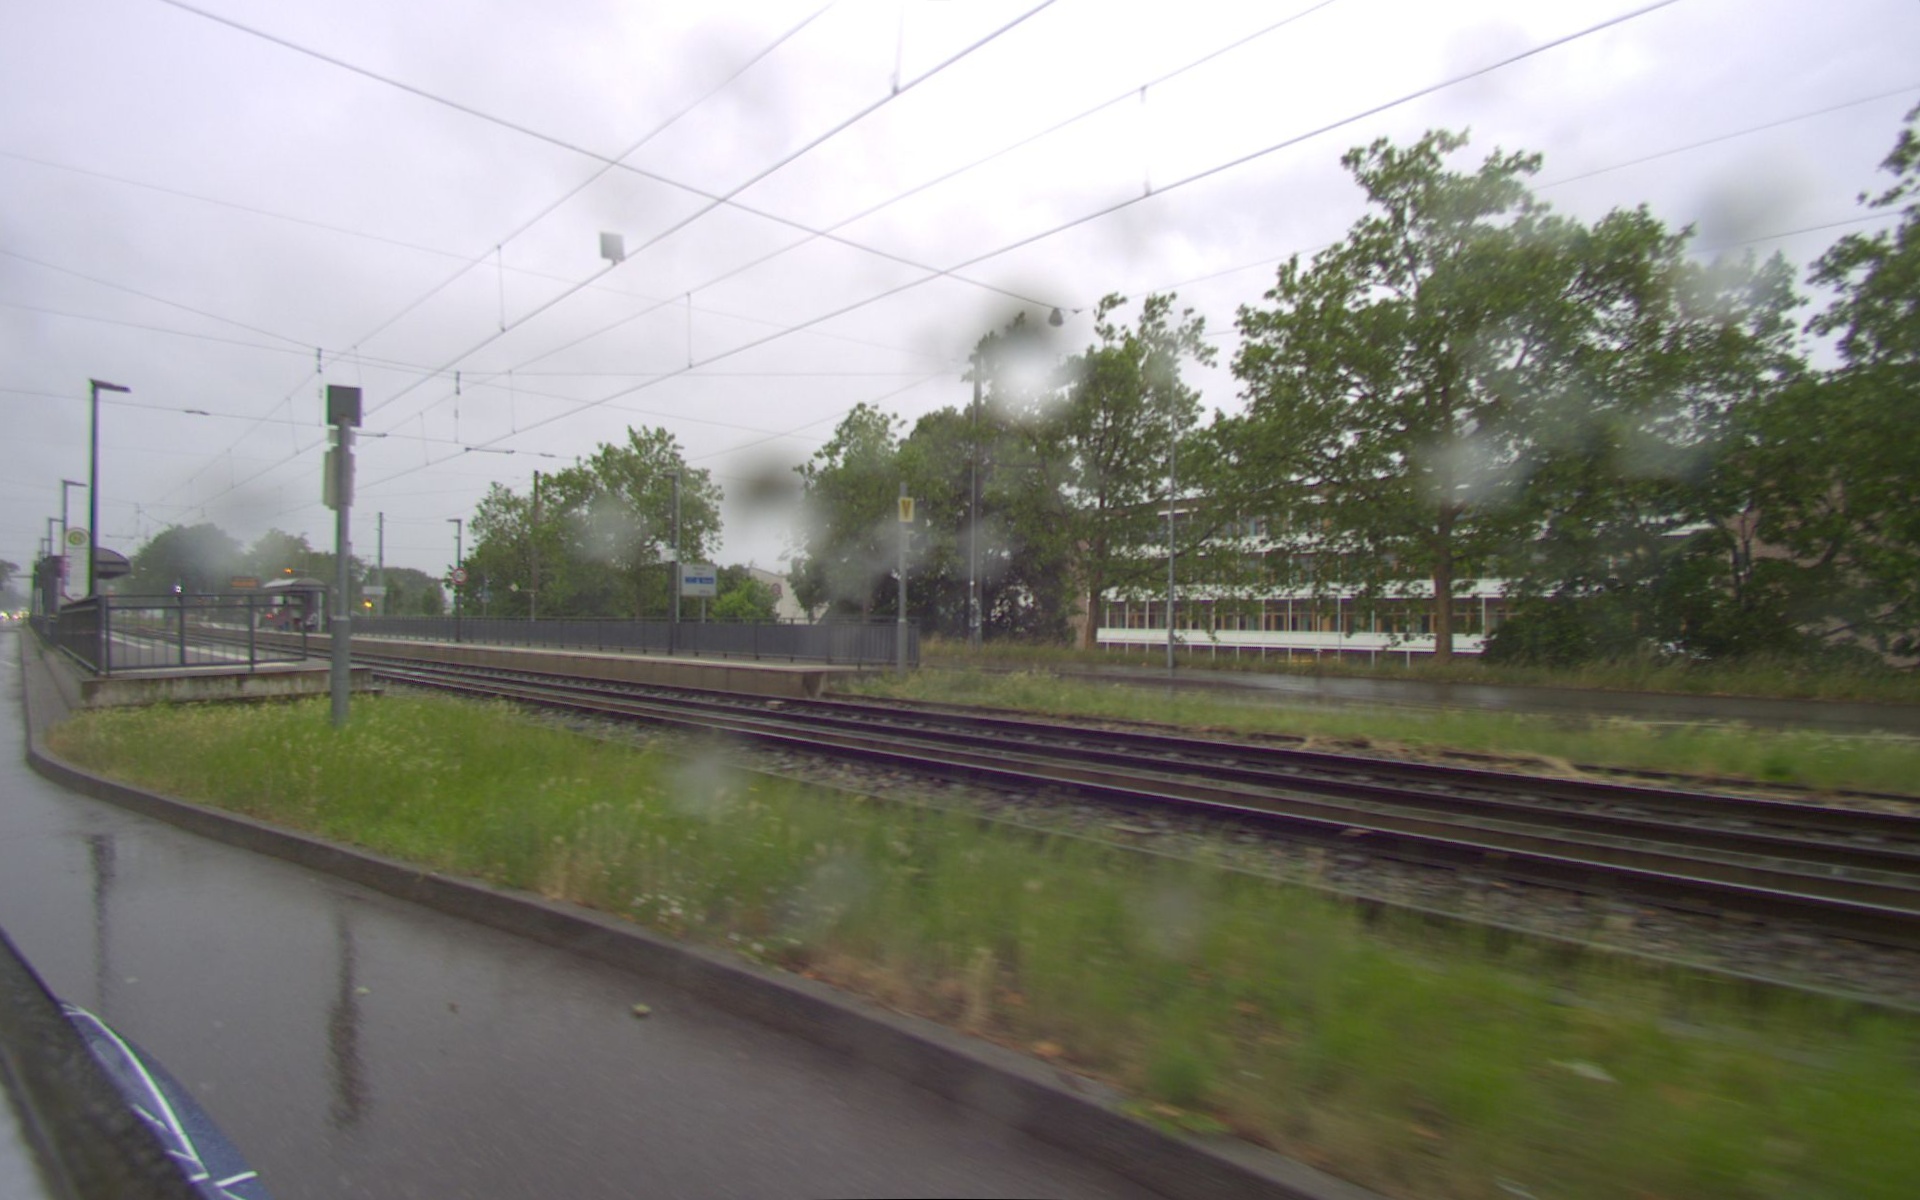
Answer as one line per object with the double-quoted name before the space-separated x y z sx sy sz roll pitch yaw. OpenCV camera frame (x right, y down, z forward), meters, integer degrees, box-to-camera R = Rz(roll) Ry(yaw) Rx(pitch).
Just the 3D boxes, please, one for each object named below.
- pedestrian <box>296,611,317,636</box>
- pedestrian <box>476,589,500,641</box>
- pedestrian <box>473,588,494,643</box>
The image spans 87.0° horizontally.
"pedestrian" -36.607 1.309 56.706 0.821 1.326 0.859 -1 0 -43
"pedestrian" -36.962 1.169 79.220 1.516 4.059 1.158 0 -1 36
"pedestrian" -35.941 1.155 76.324 1.153 4.059 1.524 0 0 -16
